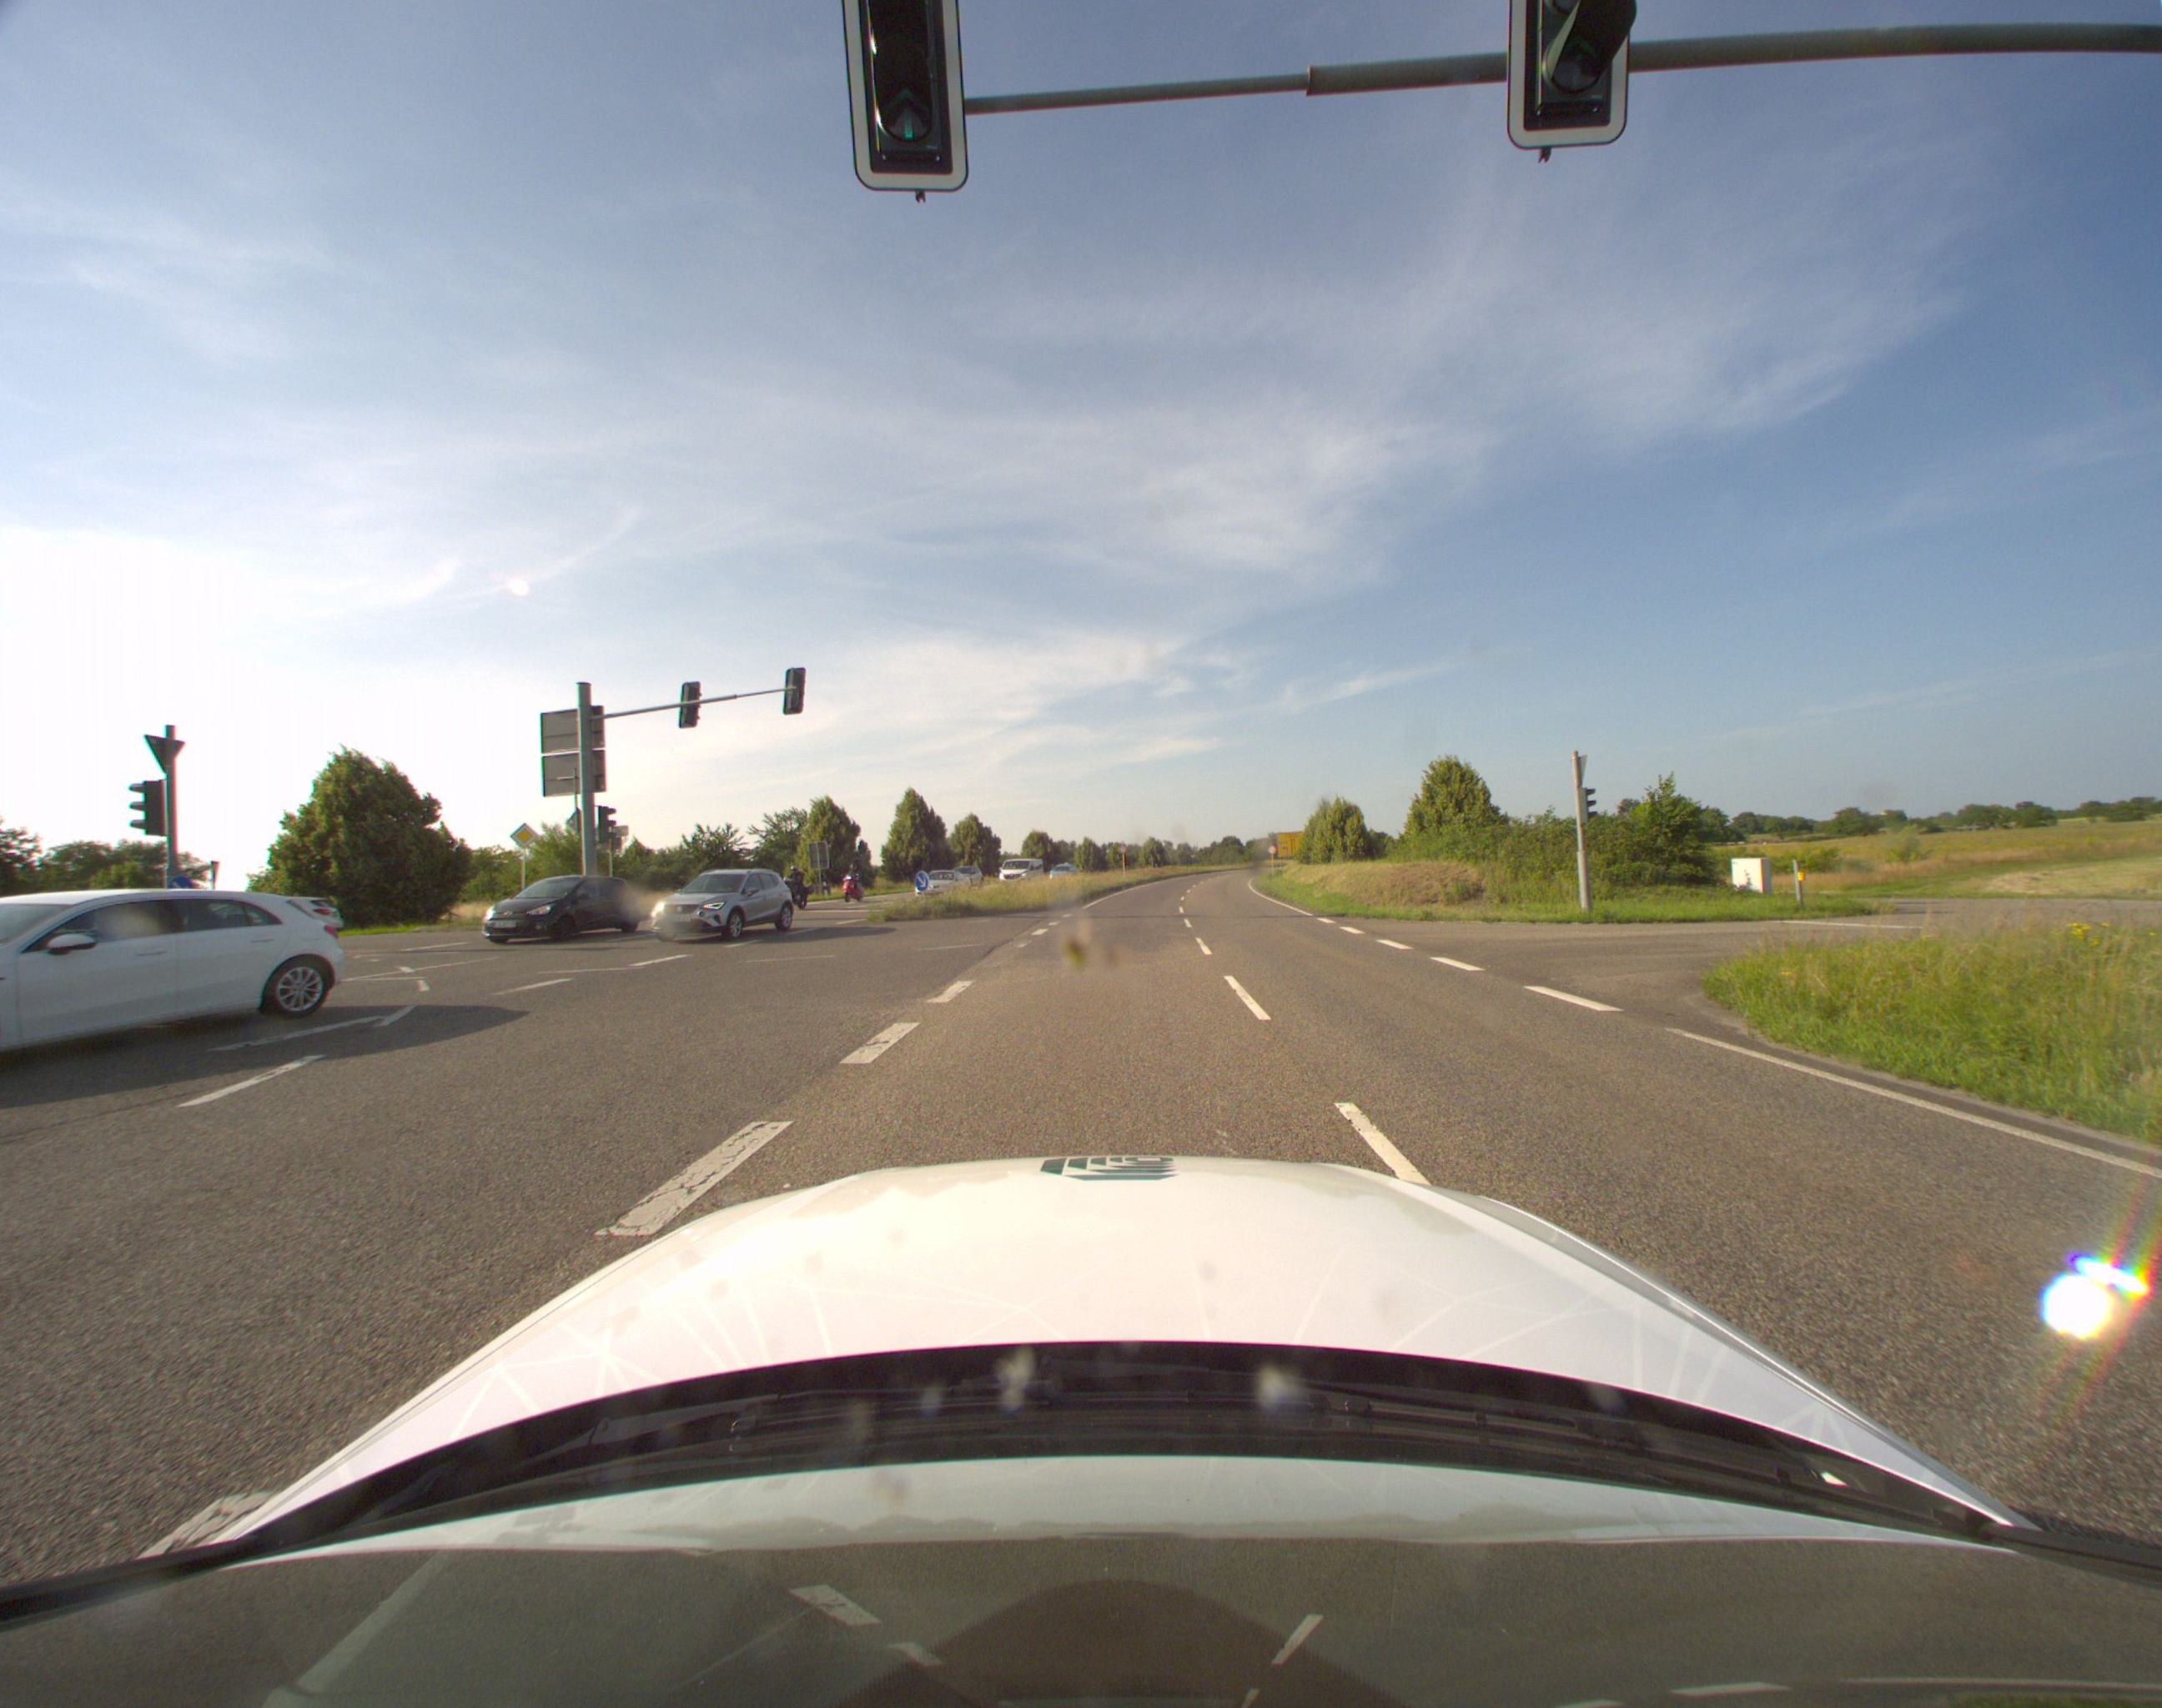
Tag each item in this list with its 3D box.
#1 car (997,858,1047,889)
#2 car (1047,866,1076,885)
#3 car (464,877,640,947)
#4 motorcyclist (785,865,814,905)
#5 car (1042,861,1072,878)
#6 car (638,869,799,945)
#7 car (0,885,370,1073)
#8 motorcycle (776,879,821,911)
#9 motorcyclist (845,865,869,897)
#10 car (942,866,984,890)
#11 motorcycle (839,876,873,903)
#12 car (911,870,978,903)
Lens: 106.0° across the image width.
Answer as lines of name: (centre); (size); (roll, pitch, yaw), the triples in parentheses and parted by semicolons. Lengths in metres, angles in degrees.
car: (-3.803, 1.262, 53.280); (1.982, 1.904, 5.802); (-2, -1, 9)
car: (-1.541, 1.669, 65.354); (1.669, 1.443, 3.761); (-1, -1, 9)
car: (-12.273, 1.288, 19.163); (1.679, 1.412, 3.524); (-1, -1, 3)
motorcyclist: (-10.766, 1.166, 31.159); (0.694, 1.503, 0.897); (-2, -1, 4)
car: (-2.287, 1.504, 79.791); (1.900, 1.565, 4.624); (-2, -1, 11)
car: (-8.177, 1.127, 18.809); (1.679, 1.523, 4.095); (-1, -1, 3)
car: (-9.364, 1.062, 7.443); (1.722, 1.413, 4.397); (-2, -1, 3)
motorcycle: (-10.760, 1.538, 31.107); (0.698, 1.138, 2.280); (-2, -1, 5)
motorcyclist: (-10.337, 1.245, 37.593); (0.700, 1.465, 1.022); (-2, -1, 8)
car: (-7.736, 1.563, 53.789); (1.696, 1.525, 4.143); (-2, -1, 7)
motorcycle: (-10.345, 1.631, 37.481); (0.703, 1.159, 2.028); (-2, -1, 8)
car: (-6.170, 1.444, 37.405); (1.684, 1.353, 4.463); (-2, -1, 9)
